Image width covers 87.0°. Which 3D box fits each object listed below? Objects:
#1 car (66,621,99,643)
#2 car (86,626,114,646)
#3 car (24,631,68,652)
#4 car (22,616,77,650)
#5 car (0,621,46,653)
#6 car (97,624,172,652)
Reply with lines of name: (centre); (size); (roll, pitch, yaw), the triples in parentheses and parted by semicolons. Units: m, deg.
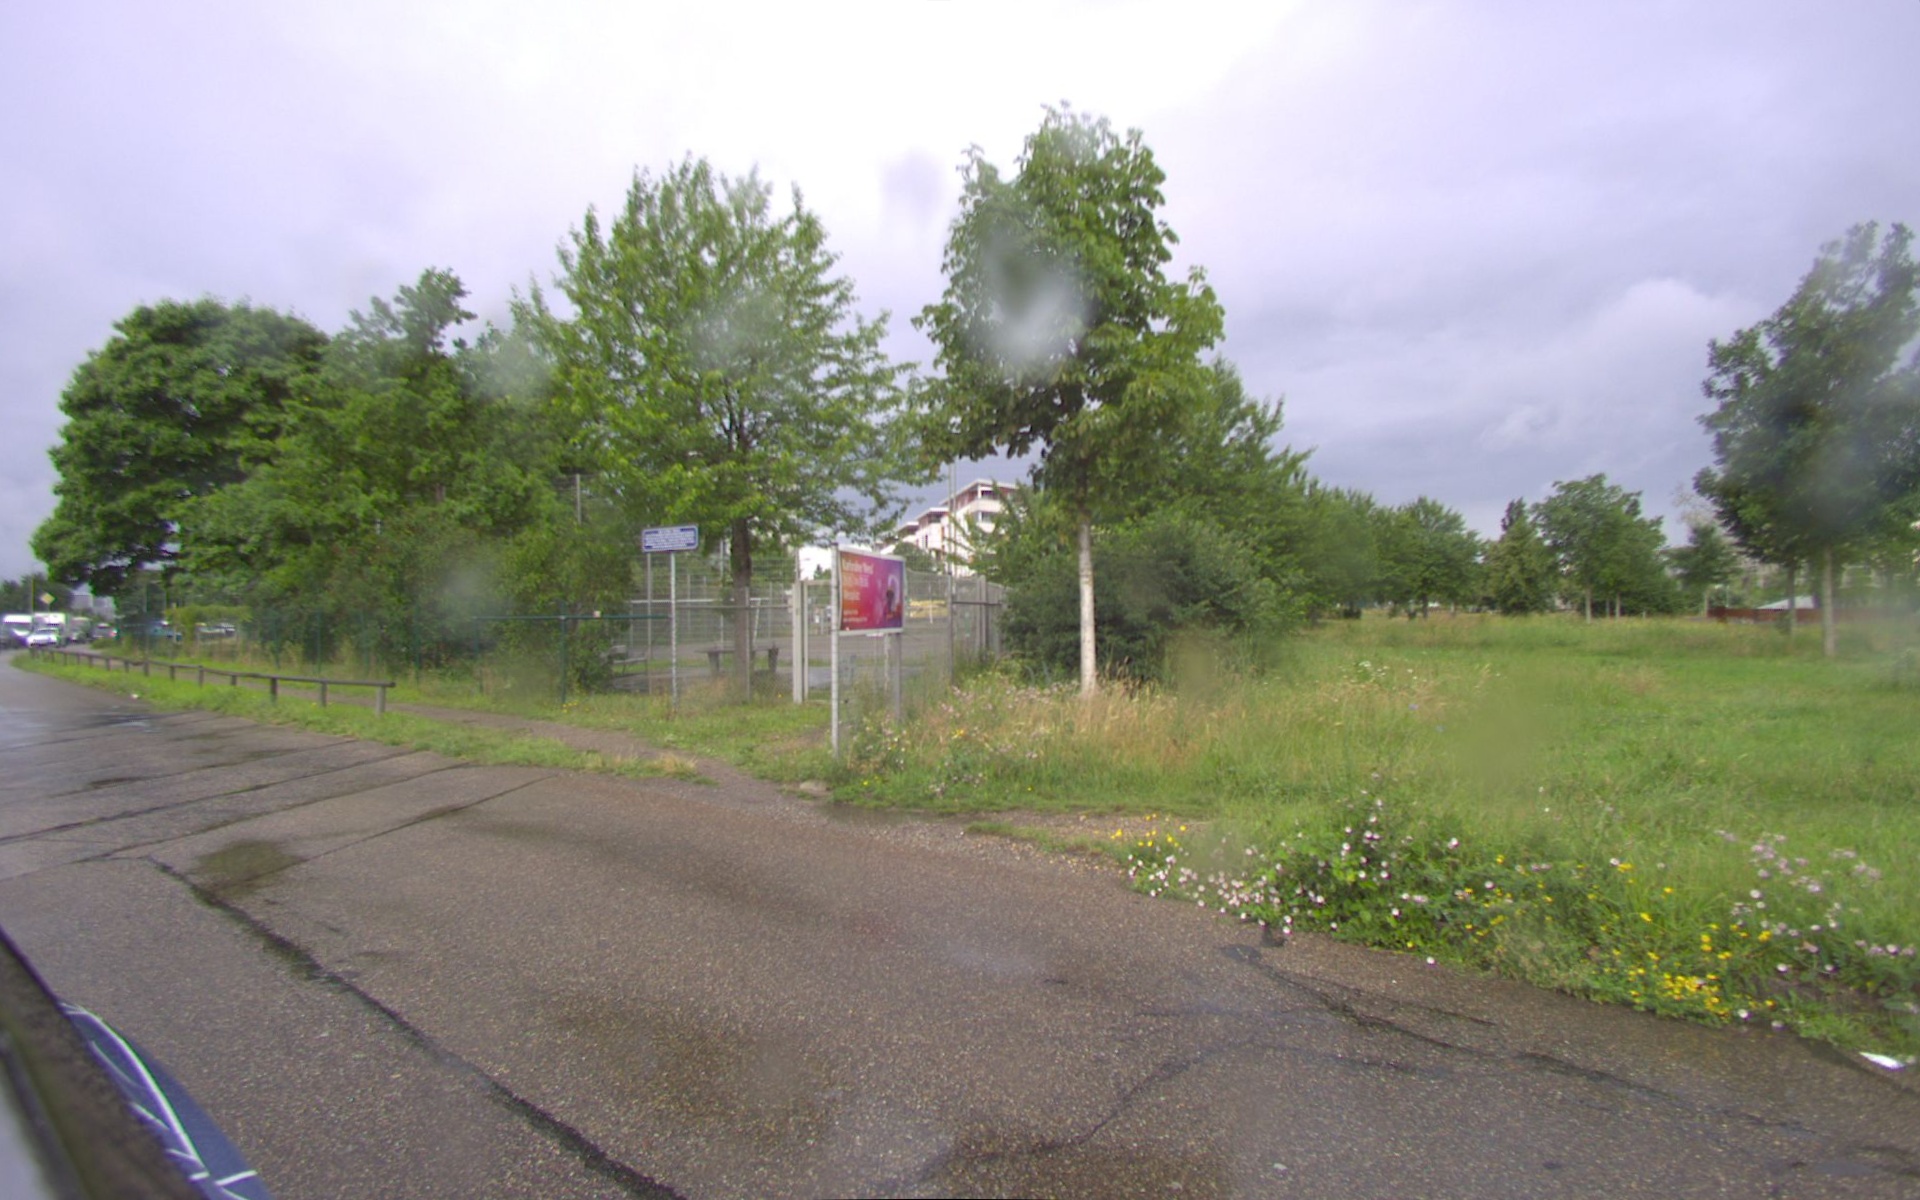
car: (-92.088, 3.328, 106.255); (1.966, 2.258, 4.575); (0, -1, -34)
car: (-99.266, 4.118, 116.843); (1.966, 2.258, 4.575); (0, -1, -34)
car: (-68.771, 3.100, 76.219); (1.812, 1.530, 4.369); (0, -1, -33)
car: (-83.695, 3.012, 93.149); (2.436, 2.978, 6.906); (1, -2, -31)
car: (-77.035, 3.017, 82.852); (2.040, 2.548, 6.676); (2, -3, -32)
car: (-57.034, 2.608, 70.014); (3.758, 1.645, 1.760); (-4, 1, -32)
